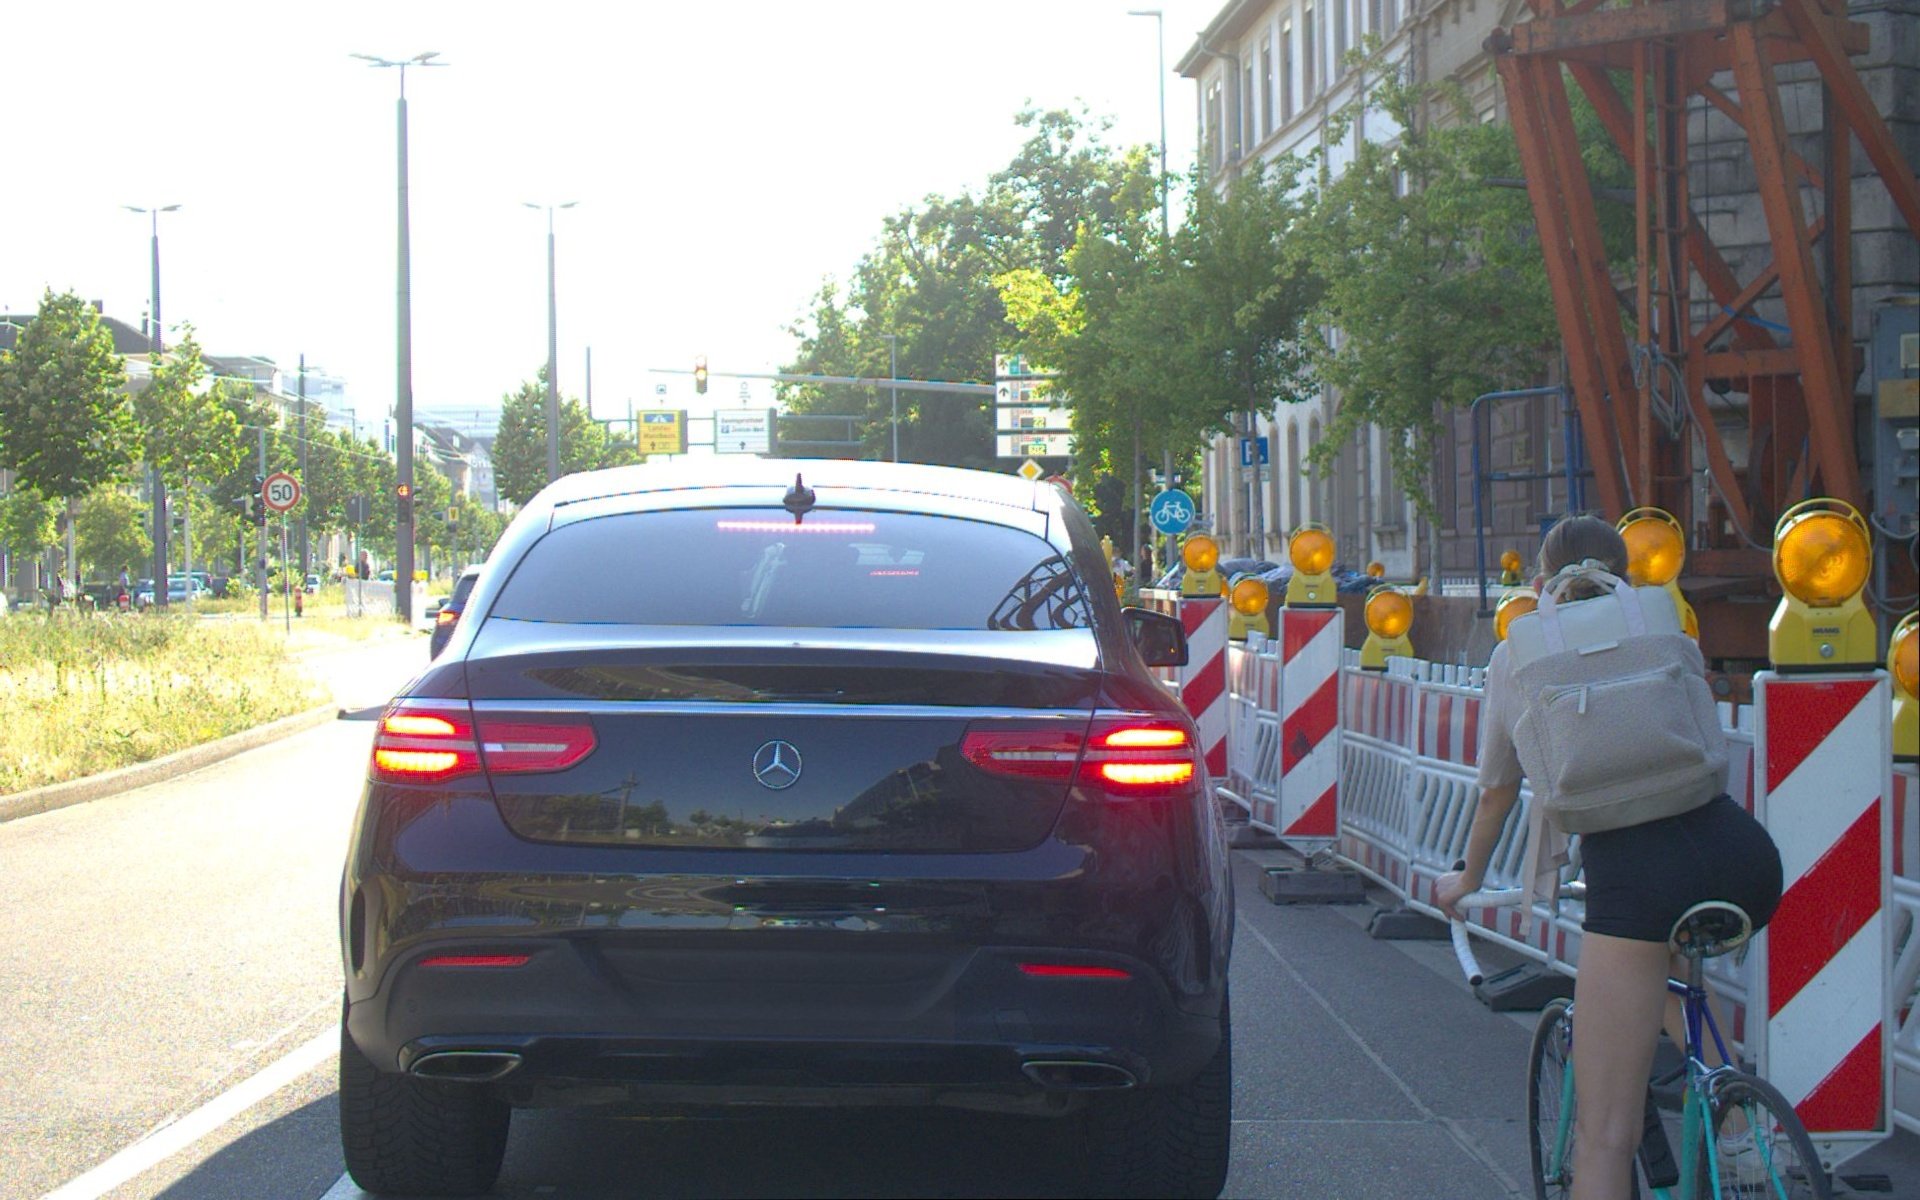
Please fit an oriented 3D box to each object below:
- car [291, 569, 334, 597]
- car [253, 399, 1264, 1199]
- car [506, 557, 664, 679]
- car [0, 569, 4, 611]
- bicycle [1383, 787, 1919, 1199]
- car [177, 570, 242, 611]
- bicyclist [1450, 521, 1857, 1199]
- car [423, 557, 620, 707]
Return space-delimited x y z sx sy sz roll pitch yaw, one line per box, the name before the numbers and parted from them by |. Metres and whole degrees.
car | -34.053 -0.882 180.816 1.708 1.437 3.583 1 1 -3
car | -0.425 0.476 8.847 1.993 1.766 4.000 1 1 -1
car | -4.616 0.197 42.714 1.708 1.437 3.583 1 1 -3
car | -33.410 -0.346 115.507 1.708 1.437 3.583 1 1 -3
bicycle | 1.146 0.907 5.951 0.512 1.048 1.725 1 1 -3
car | -27.204 -0.355 124.687 1.708 1.437 3.583 1 1 -3
bicyclist | 1.163 0.568 5.859 0.522 1.391 0.615 1 0 -3
car | -4.457 0.293 35.335 1.708 1.437 3.583 1 1 -3
